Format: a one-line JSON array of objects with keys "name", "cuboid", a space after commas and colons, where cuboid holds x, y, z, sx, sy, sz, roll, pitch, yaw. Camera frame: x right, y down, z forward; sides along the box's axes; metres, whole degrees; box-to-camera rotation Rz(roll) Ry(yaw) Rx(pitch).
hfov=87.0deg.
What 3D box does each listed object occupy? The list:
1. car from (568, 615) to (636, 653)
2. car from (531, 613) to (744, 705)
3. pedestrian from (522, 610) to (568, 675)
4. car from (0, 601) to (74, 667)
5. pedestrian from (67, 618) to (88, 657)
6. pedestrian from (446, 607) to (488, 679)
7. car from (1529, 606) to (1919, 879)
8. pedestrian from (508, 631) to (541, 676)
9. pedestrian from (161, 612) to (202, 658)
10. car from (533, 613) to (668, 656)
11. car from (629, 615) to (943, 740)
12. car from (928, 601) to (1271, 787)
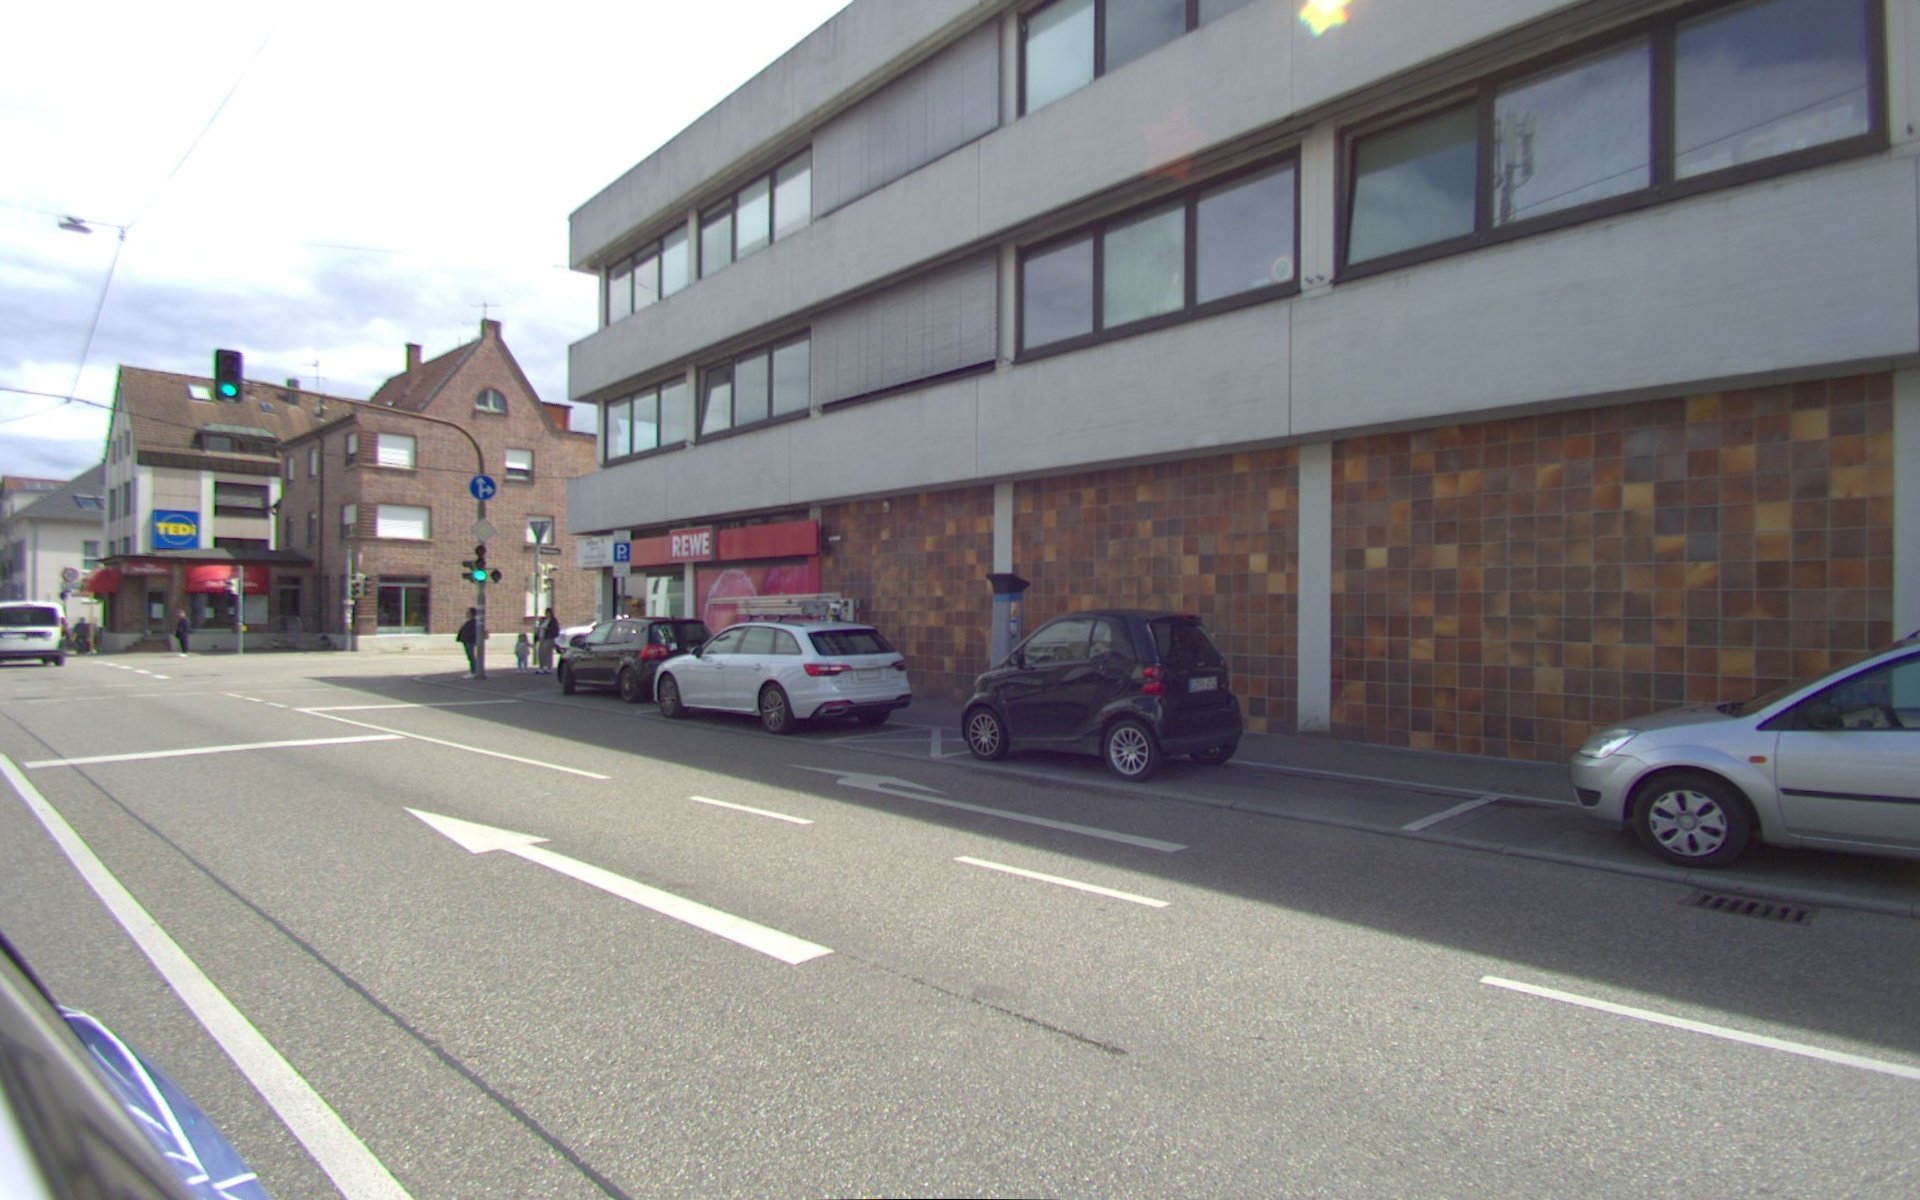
[{"name": "car", "cuboid": [-18.494, 1.742, 52.222, 3.702, 1.877, 1.844, -1, -2, 43]}, {"name": "car", "cuboid": [-6.072, 1.012, 18.803, 4.287, 1.486, 2.021, -1, -1, 45]}, {"name": "pedestrian", "cuboid": [-10.307, 1.037, 25.139, 0.809, 1.566, 0.847, -1, -1, -42]}, {"name": "car", "cuboid": [-27.900, 0.980, 30.058, 4.278, 1.835, 1.924, -1, -2, 43]}, {"name": "pedestrian", "cuboid": [-39.553, 1.689, 45.366, 0.673, 1.729, 0.878, 2, -2, -41]}, {"name": "pedestrian", "cuboid": [-11.585, 0.997, 23.762, 0.709, 1.657, 0.682, 0, -1, -42]}, {"name": "car", "cuboid": [5.818, 0.754, 5.821, 4.148, 1.433, 1.703, -1, -1, 43]}, {"name": "pedestrian", "cuboid": [-10.713, 1.315, 24.882, 0.552, 1.065, 0.663, -1, -1, -41]}, {"name": "pedestrian", "cuboid": [-29.658, 1.338, 38.558, 0.839, 1.736, 0.906, 0, -2, 1]}, {"name": "car", "cuboid": [-15.631, 1.525, 44.234, 5.182, 1.782, 2.001, 2, -3, -45]}, {"name": "car", "cuboid": [-2.662, 0.969, 14.478, 2.020, 1.455, 4.956, 0, -1, -44]}, {"name": "car", "cuboid": [1.336, 0.825, 10.313, 1.716, 1.568, 3.059, 0, -1, -44]}]
